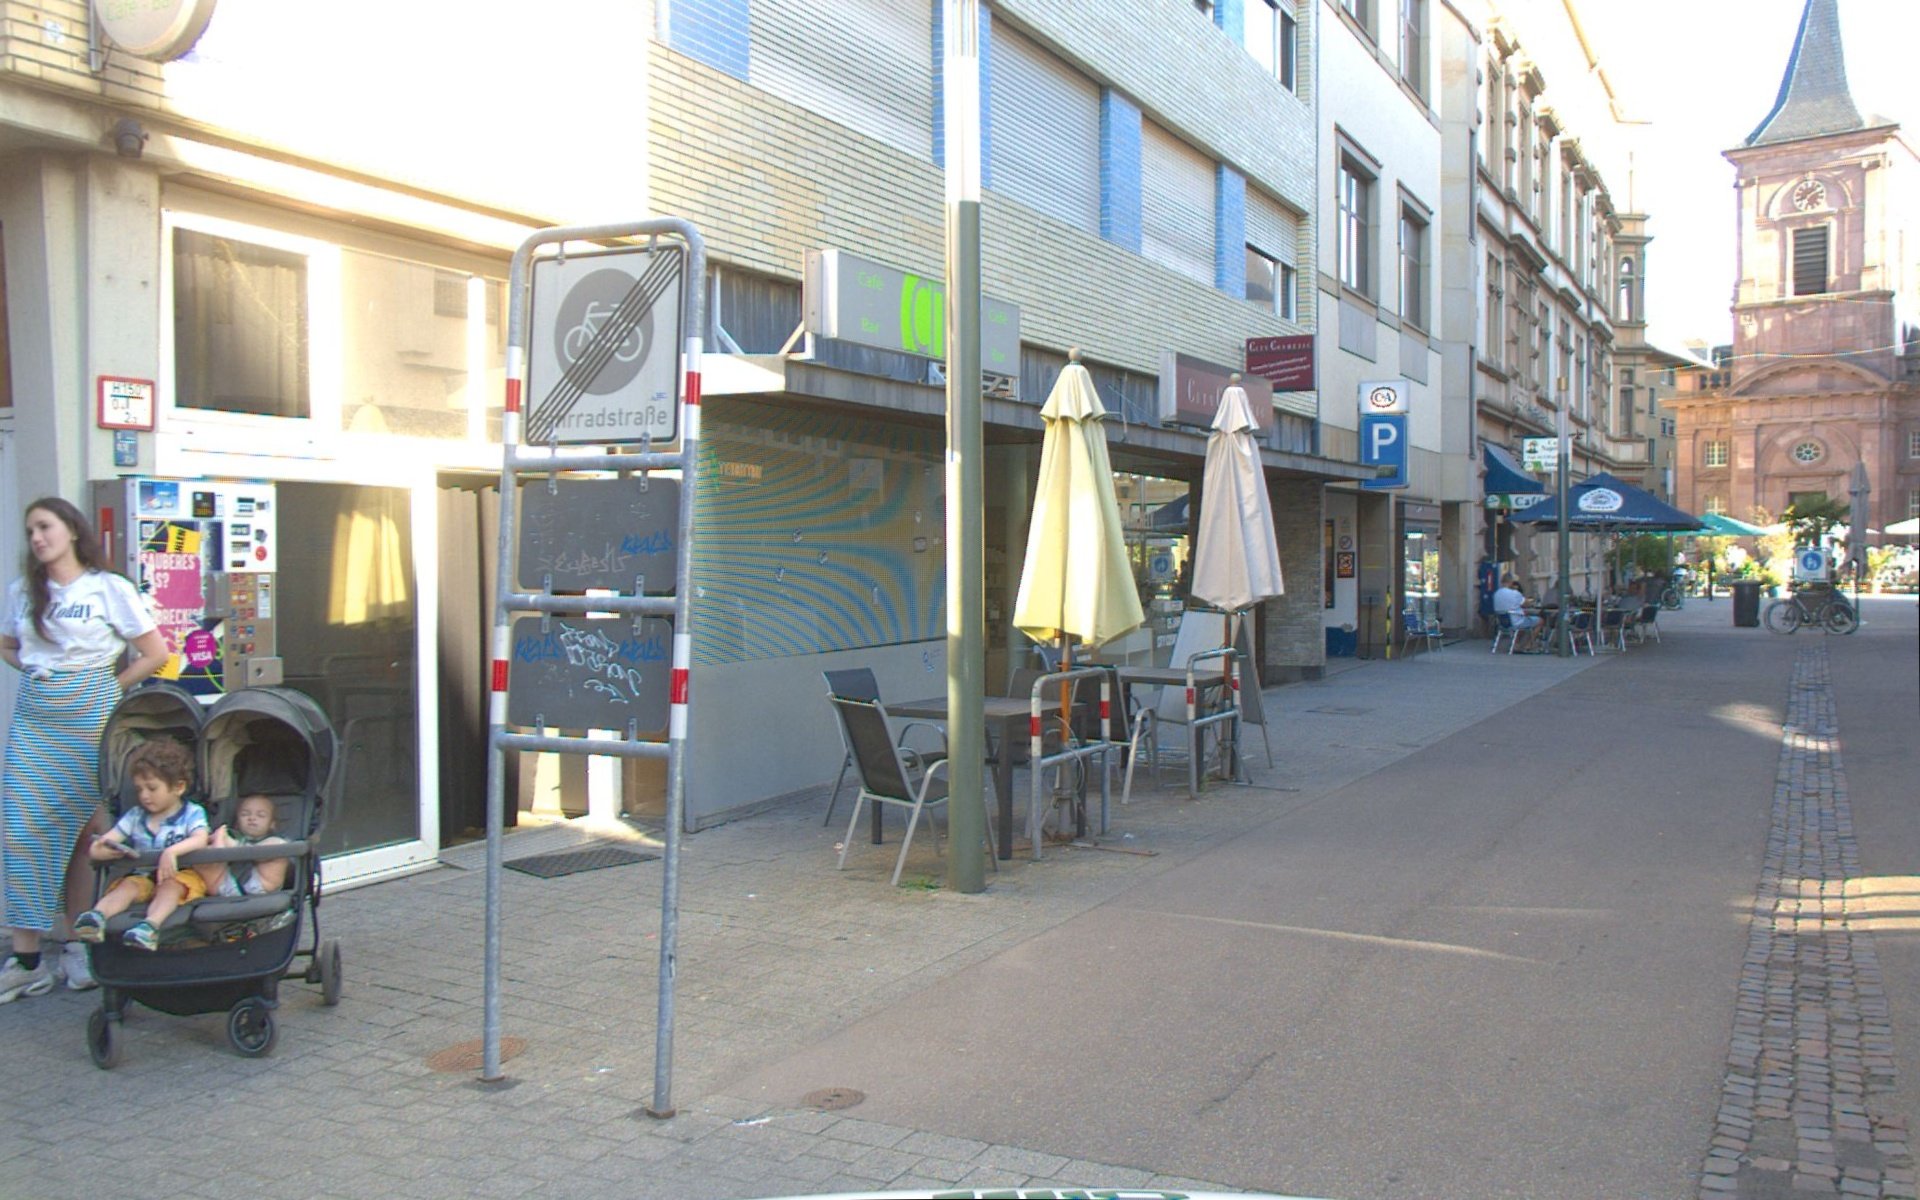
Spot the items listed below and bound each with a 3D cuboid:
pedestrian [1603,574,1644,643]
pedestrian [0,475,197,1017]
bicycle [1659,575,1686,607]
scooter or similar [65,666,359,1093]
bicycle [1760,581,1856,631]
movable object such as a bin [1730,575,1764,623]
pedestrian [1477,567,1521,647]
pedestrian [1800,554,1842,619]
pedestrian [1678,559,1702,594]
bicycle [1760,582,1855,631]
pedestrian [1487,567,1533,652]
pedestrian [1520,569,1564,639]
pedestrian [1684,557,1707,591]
[{"bbox_3d":[12.145,0.151,30.274,0.677,1.236,0.583,0,1,20],"label":"pedestrian"},{"bbox_3d":[-3.210,0.490,6.020,0.648,1.850,0.567,-3,3,-21],"label":"pedestrian"},{"bbox_3d":[20.502,-0.272,47.590,0.448,0.864,2.142,0,2,31],"label":"bicycle"},{"bbox_3d":[-2.409,0.848,5.445,0.785,1.163,0.948,-1,2,-20],"label":"scooter or similar"},{"bbox_3d":[17.854,0.123,34.851,1.787,1.022,0.381,0,1,25],"label":"bicycle"},{"bbox_3d":[18.268,-0.023,38.408,0.707,1.093,0.374,0,1,27],"label":"movable object such as a bin"},{"bbox_3d":[9.493,0.116,29.152,0.702,1.392,0.711,0,1,16],"label":"pedestrian"},{"bbox_3d":[20.184,-0.319,38.790,0.867,1.489,0.730,0,1,28],"label":"pedestrian"},{"bbox_3d":[26.617,-0.866,60.294,0.688,1.239,0.717,0,1,33],"label":"pedestrian"},{"bbox_3d":[18.027,0.127,35.213,1.787,1.022,0.381,0,1,25],"label":"bicycle"},{"bbox_3d":[9.239,0.148,27.784,0.693,1.392,0.720,0,1,16],"label":"pedestrian"},{"bbox_3d":[10.678,0.060,30.329,0.749,1.254,0.832,0,1,20],"label":"pedestrian"},{"bbox_3d":[27.360,-0.964,61.515,0.688,1.239,0.717,0,1,33],"label":"pedestrian"}]
